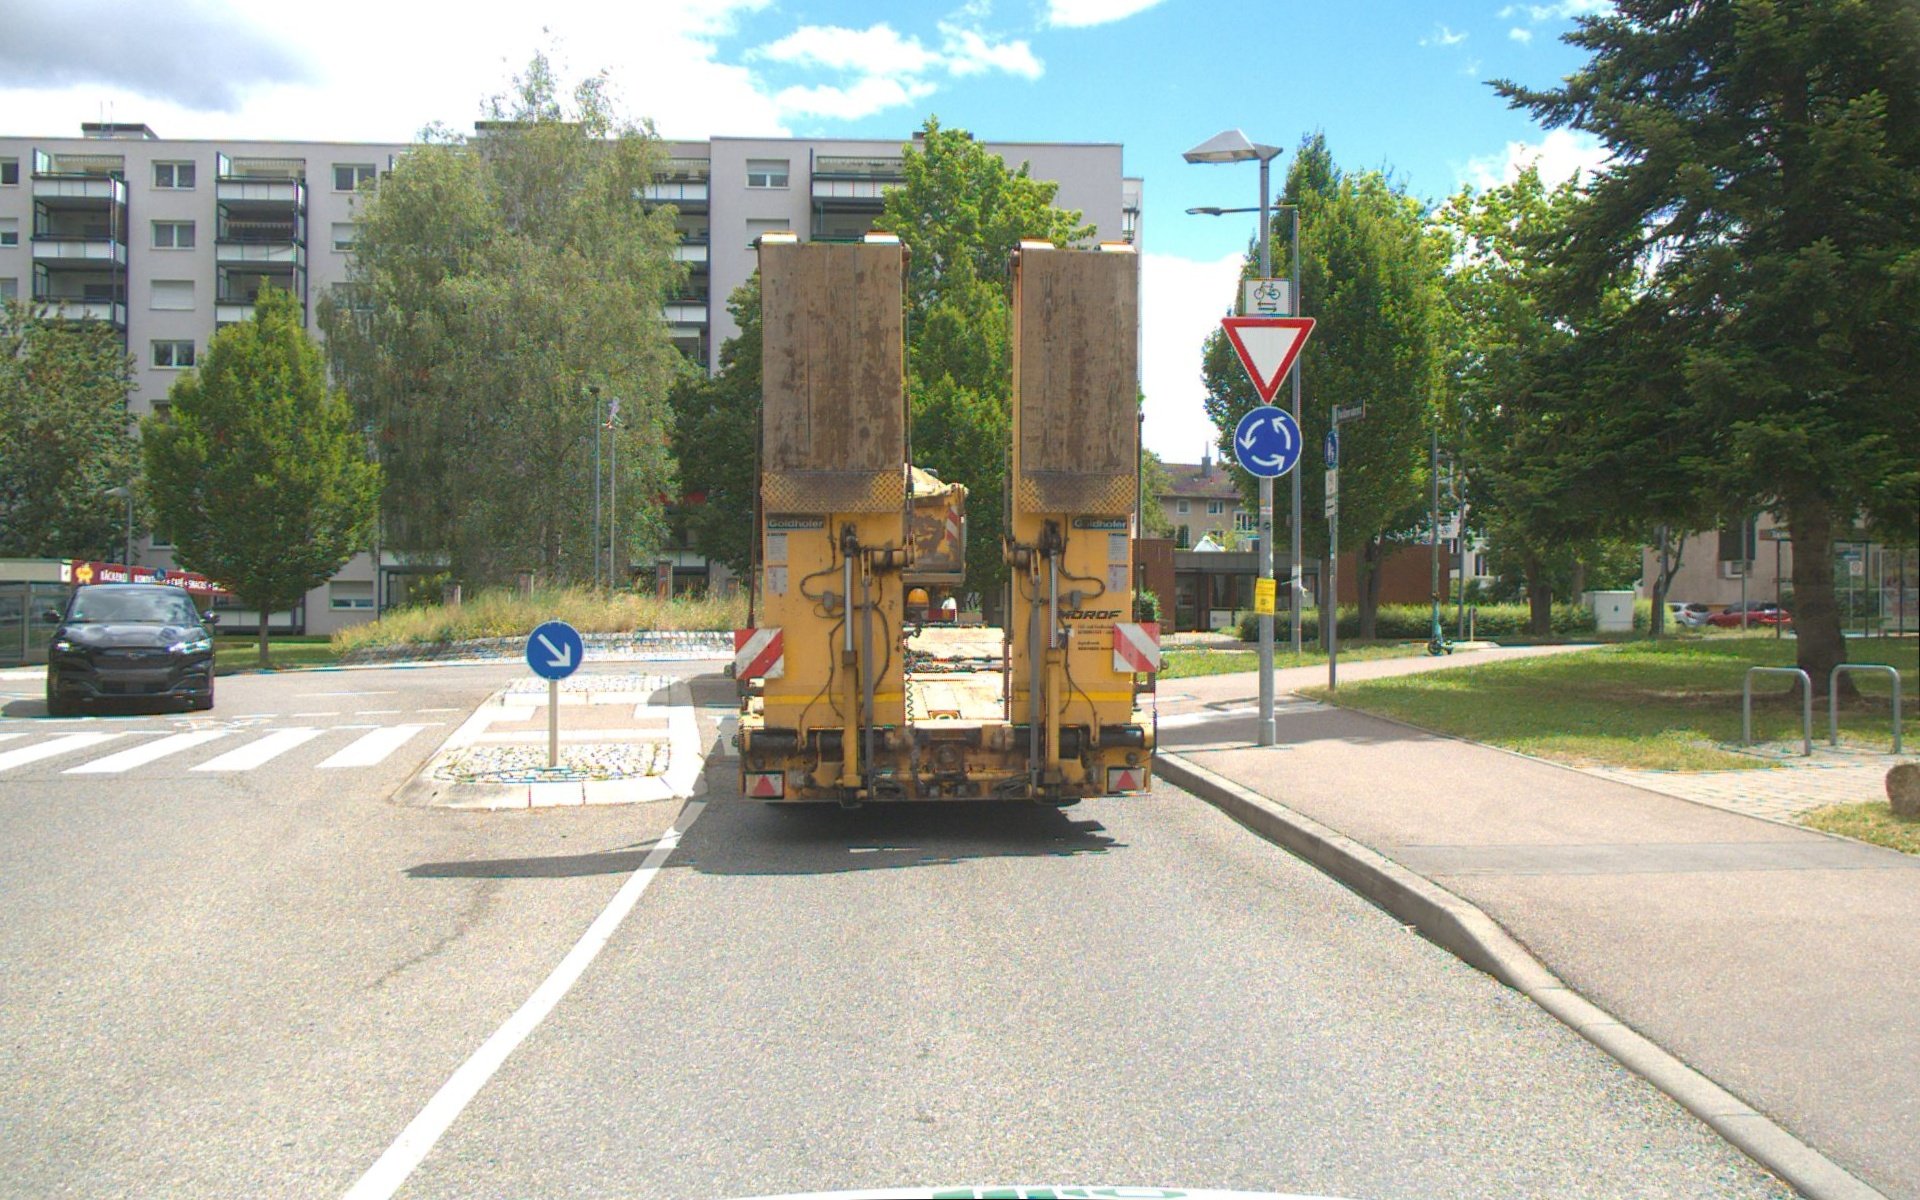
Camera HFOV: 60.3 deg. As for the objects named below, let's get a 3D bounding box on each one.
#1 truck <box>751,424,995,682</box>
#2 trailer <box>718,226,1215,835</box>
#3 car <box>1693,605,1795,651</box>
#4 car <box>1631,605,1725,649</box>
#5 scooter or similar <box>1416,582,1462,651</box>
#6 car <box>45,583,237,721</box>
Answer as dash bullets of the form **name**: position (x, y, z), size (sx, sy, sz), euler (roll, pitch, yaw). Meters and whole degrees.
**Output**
- **truck**: position (-1.457, -0.662, 24.489), size (2.930, 3.087, 8.477), euler (1, 1, -6)
- **trailer**: position (-0.466, -0.431, 14.913), size (2.808, 3.431, 10.828), euler (1, 0, -6)
- **car**: position (35.116, 1.254, 74.166), size (1.980, 1.975, 3.980), euler (1, -1, -18)
- **car**: position (33.935, 1.264, 78.296), size (1.962, 1.975, 3.980), euler (1, -1, -18)
- **scooter or similar**: position (9.814, 0.325, 33.864), size (0.476, 1.366, 1.384), euler (-2, 0, 35)
- **car**: position (-10.791, 0.575, 21.617), size (1.973, 1.552, 4.479), euler (-1, 1, -30)
